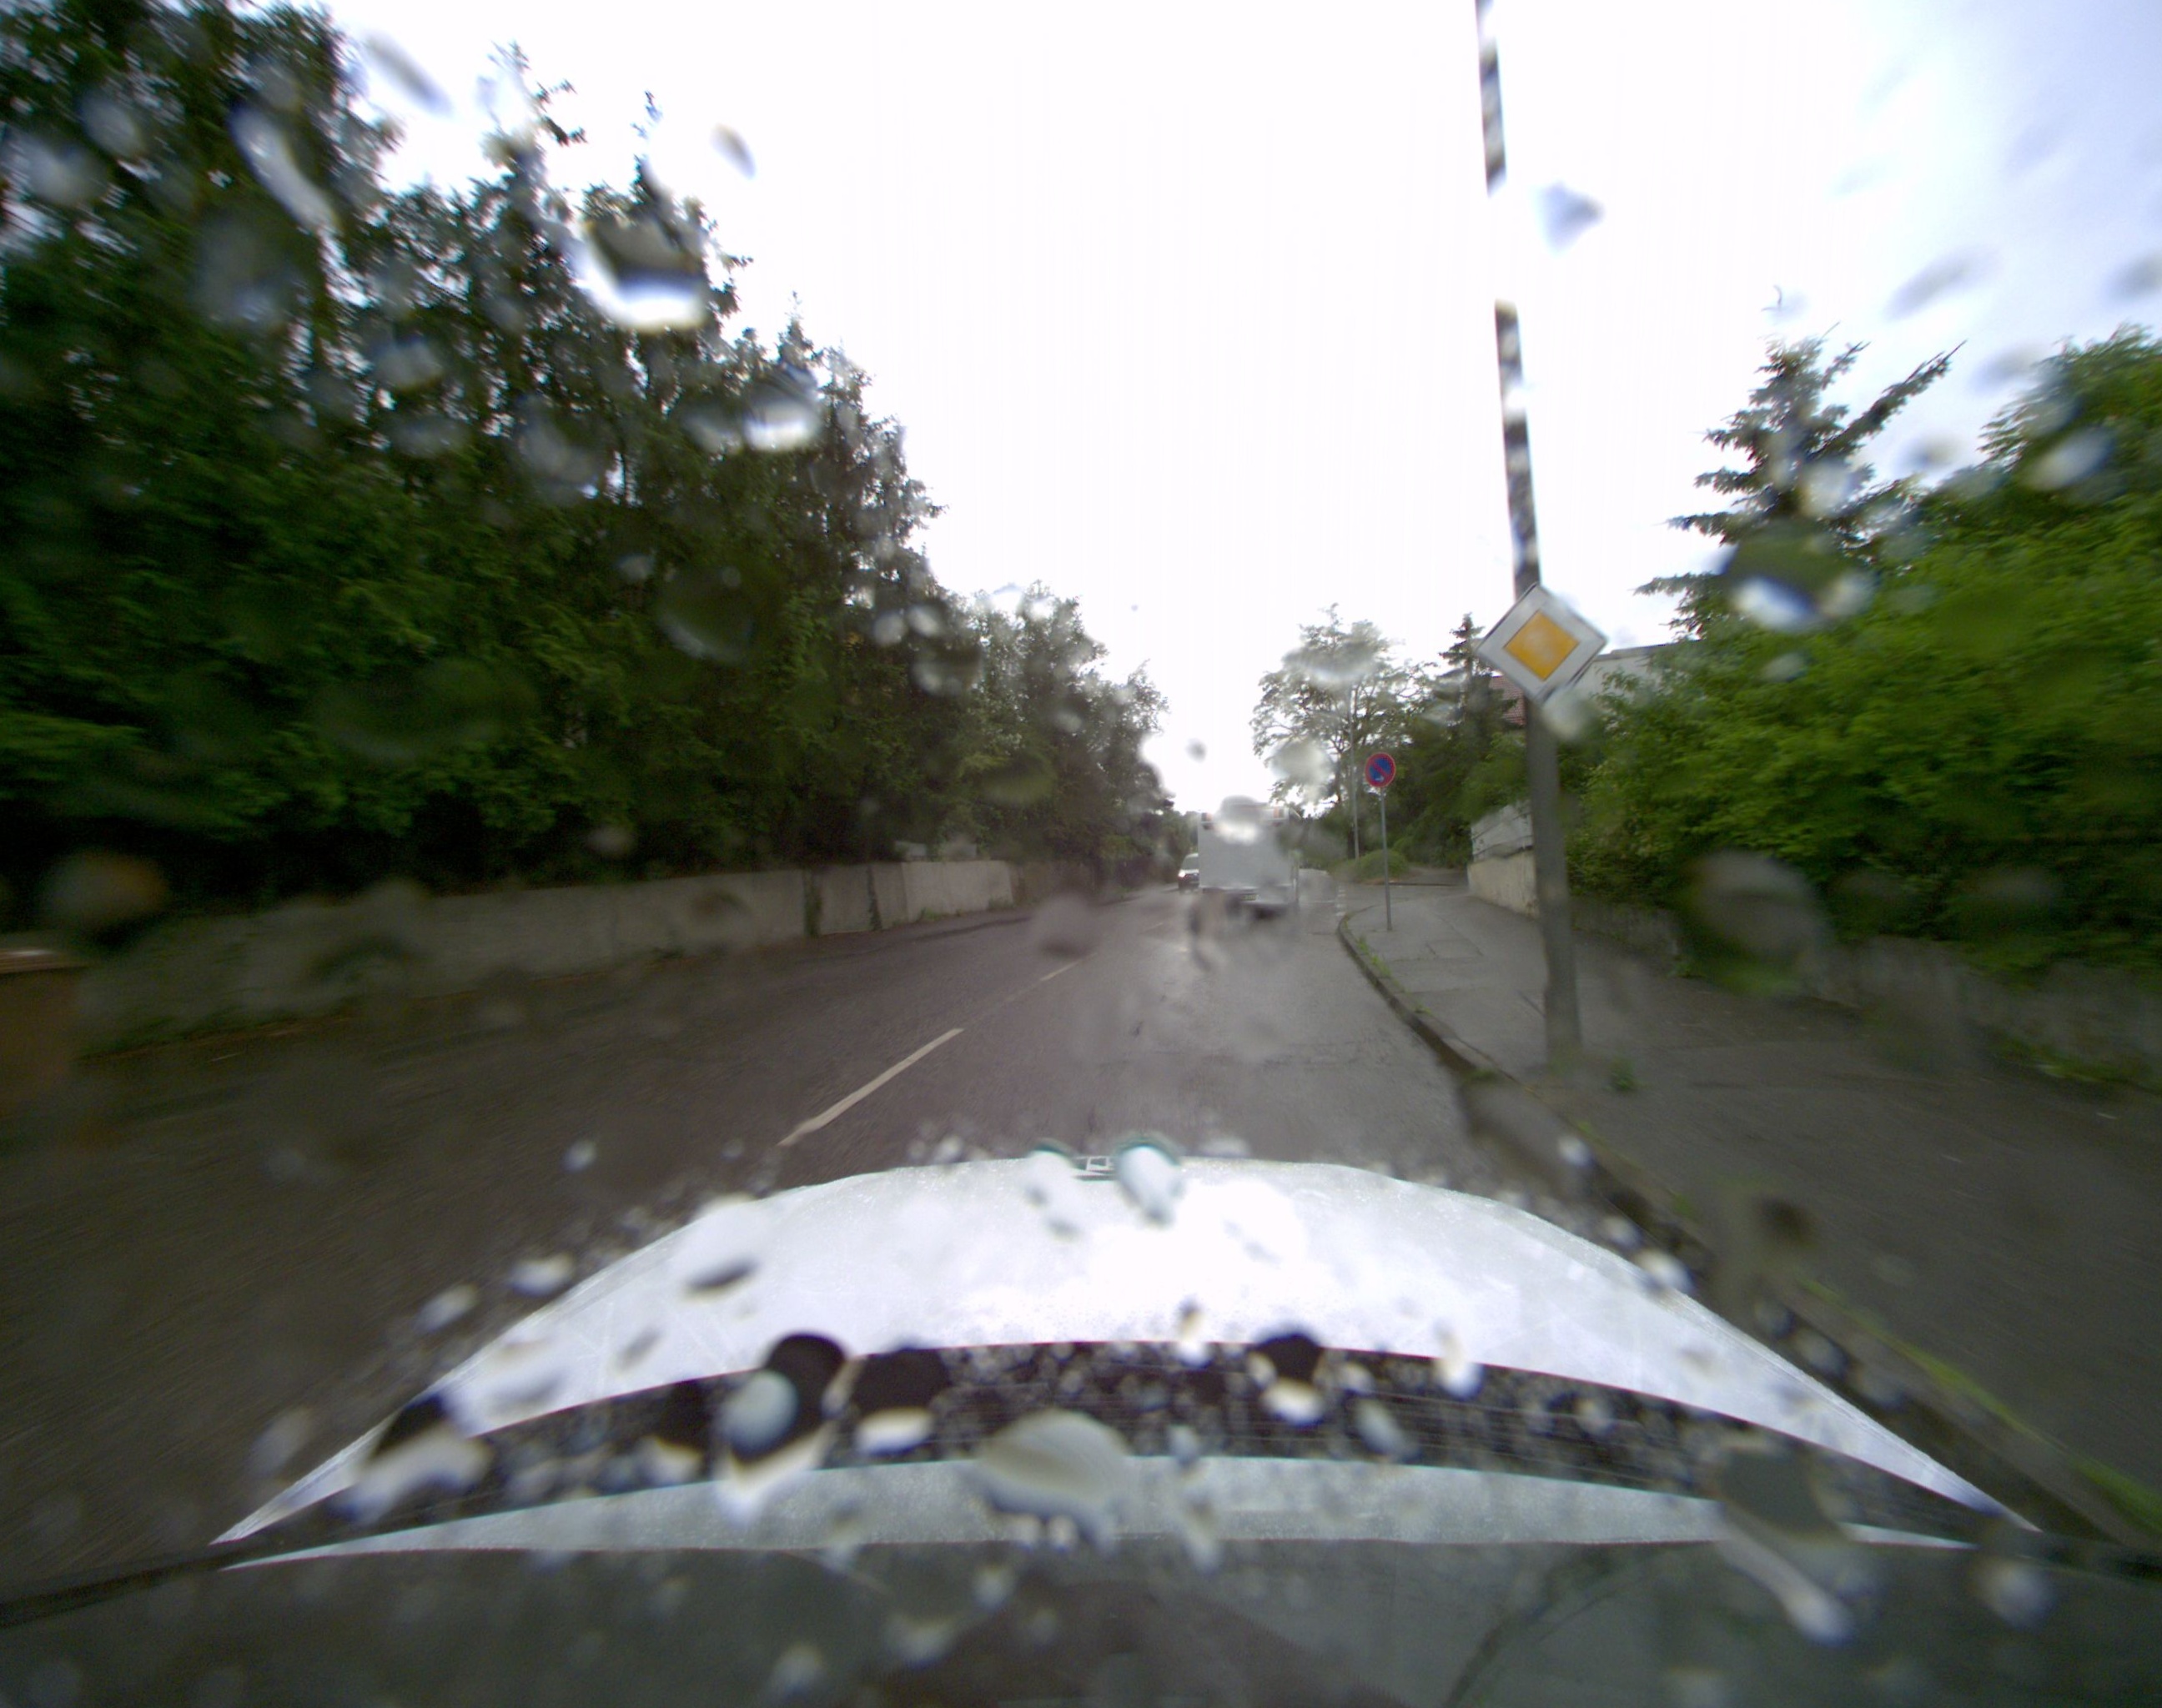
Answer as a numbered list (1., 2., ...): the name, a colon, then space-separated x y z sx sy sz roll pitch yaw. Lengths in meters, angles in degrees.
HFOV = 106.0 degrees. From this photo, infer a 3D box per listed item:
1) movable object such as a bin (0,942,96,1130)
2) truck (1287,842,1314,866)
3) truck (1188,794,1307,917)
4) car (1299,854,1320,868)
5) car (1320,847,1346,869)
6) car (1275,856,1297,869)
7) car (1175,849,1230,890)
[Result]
1. movable object such as a bin: -6.155 1.026 4.633 0.497 0.979 0.491 1 -1 8
2. truck: 24.156 0.013 89.696 1.984 2.573 4.840 -1 -1 5
3. truck: 4.727 0.061 22.225 2.496 2.817 6.229 -2 -1 17
4. car: 23.248 0.741 82.984 1.531 1.326 4.010 -2 -1 9
5. car: 21.104 0.337 68.174 1.978 1.640 4.017 1 -2 18
6. car: 24.978 1.011 99.291 1.684 1.464 3.381 -1 -1 -4
7. car: 5.663 0.681 37.488 1.825 1.755 4.440 -1 0 17
